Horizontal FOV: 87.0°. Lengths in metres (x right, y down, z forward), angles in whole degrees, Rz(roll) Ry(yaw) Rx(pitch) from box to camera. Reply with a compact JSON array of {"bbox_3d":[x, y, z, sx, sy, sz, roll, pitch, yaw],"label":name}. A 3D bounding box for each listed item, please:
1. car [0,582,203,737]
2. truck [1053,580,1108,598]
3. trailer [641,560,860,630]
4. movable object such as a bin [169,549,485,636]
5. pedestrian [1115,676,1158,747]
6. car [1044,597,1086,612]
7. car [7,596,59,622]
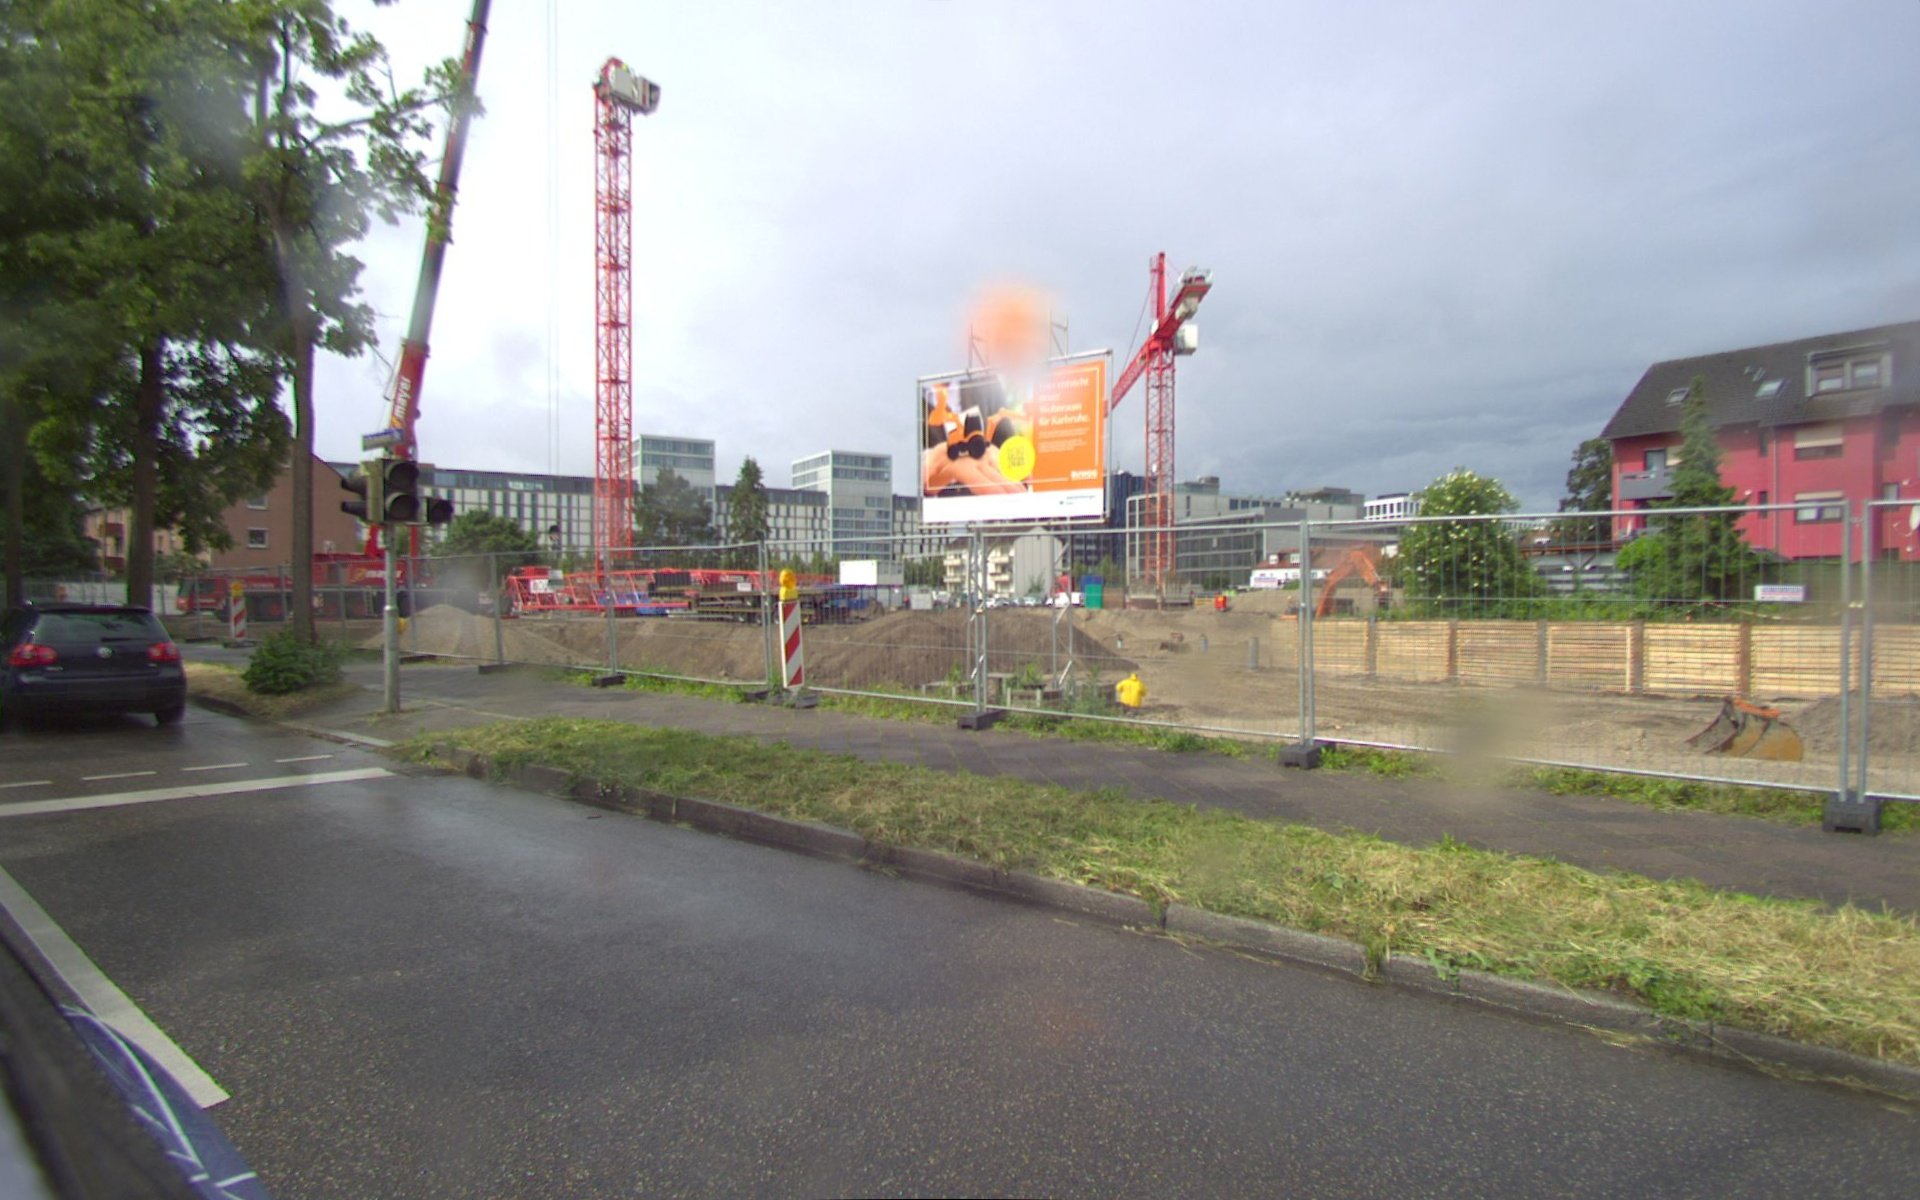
[{"bbox_3d":[-11.090,0.656,12.565,3.997,1.620,1.822,0,-2,40],"label":"car"},{"bbox_3d":[14.372,-1.374,121.191,6.286,2.095,1.886,0,2,22],"label":"truck"},{"bbox_3d":[-11.573,-0.344,54.160,14.292,3.256,2.933,1,4,39],"label":"trailer"},{"bbox_3d":[-37.170,-0.678,60.617,3.101,4.592,15.739,1,3,42],"label":"movable object such as a bin"},{"bbox_3d":[4.446,2.778,25.453,0.849,1.698,0.580,0,-3,44],"label":"pedestrian"},{"bbox_3d":[12.062,0.505,116.365,4.579,1.529,1.798,1,3,42],"label":"car"},{"bbox_3d":[-58.647,0.542,64.010,3.993,1.541,1.674,1,2,37],"label":"car"}]
